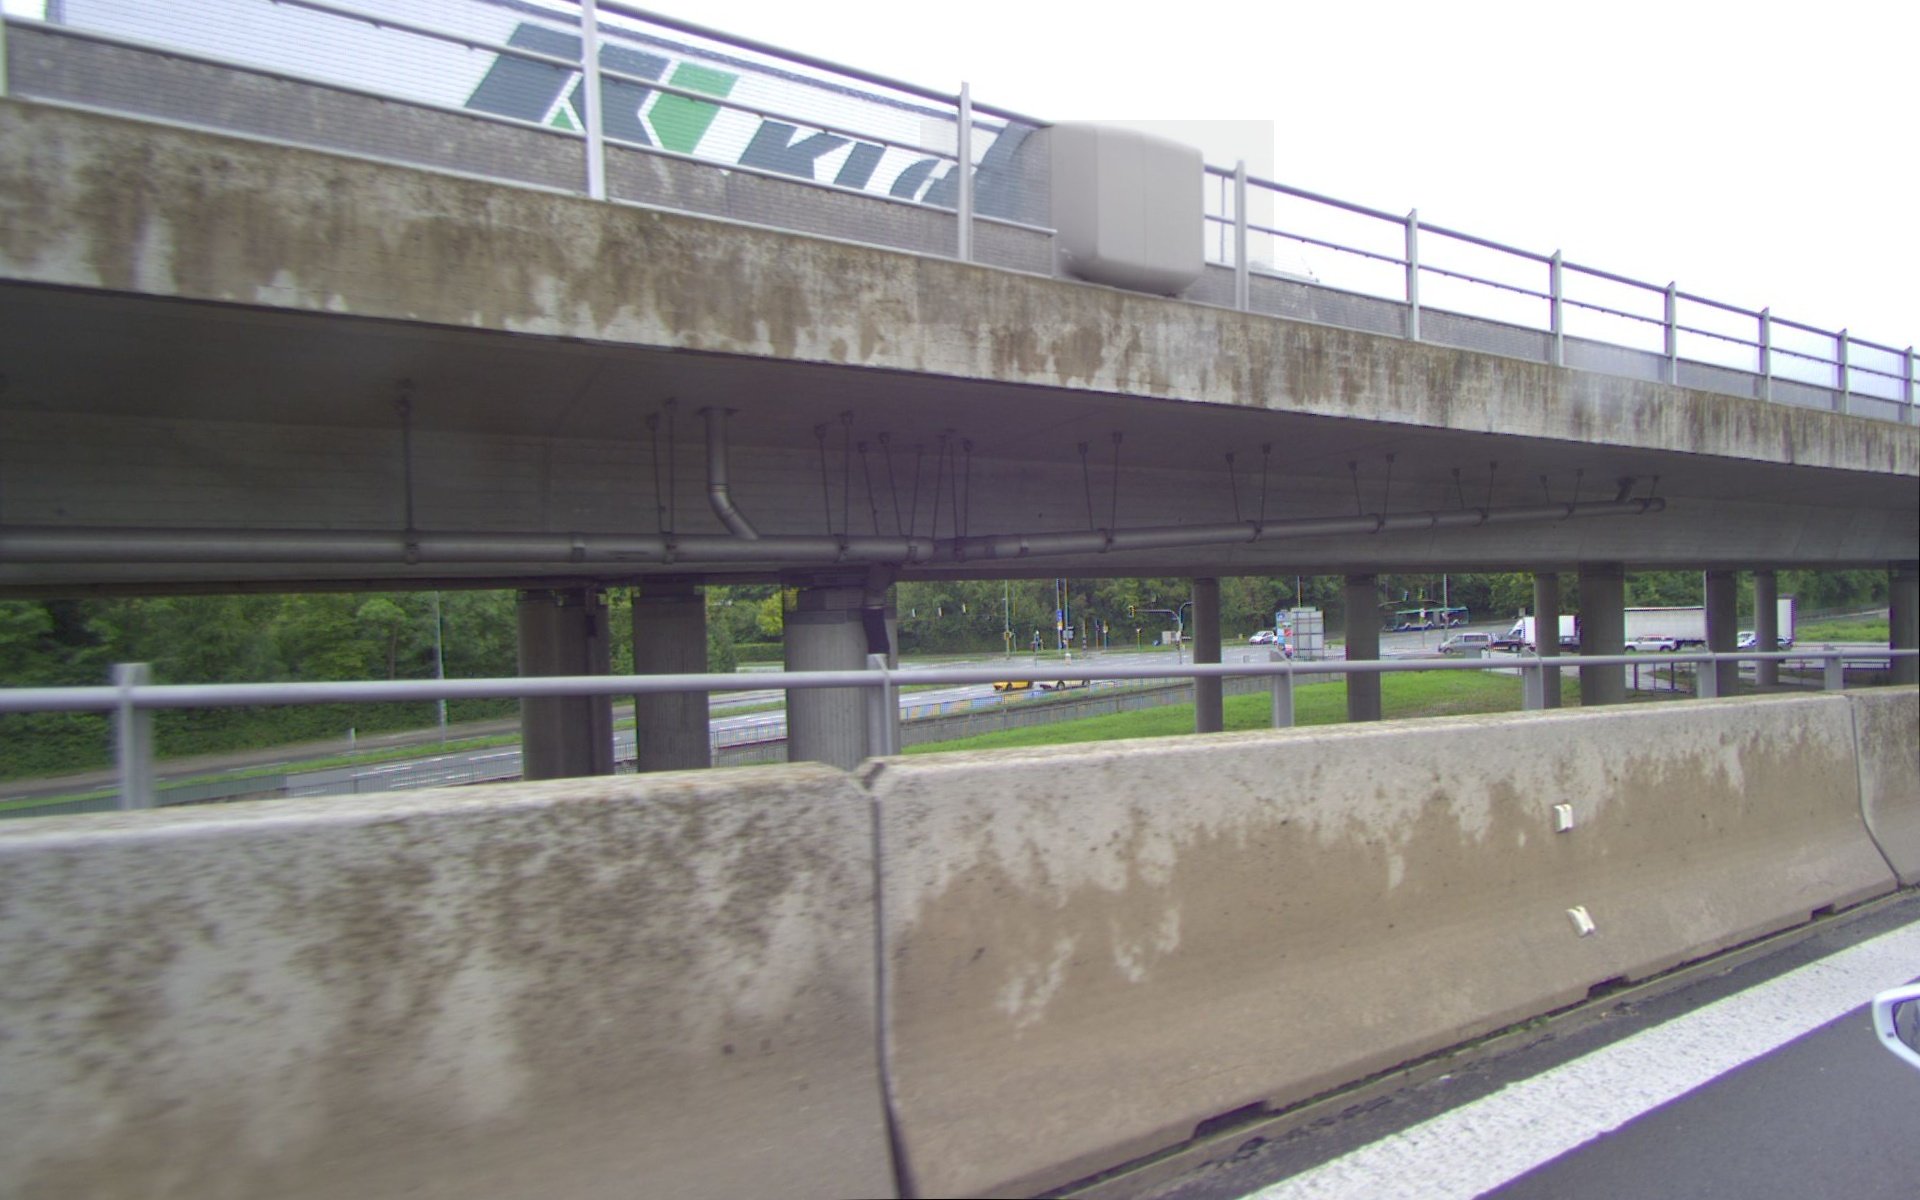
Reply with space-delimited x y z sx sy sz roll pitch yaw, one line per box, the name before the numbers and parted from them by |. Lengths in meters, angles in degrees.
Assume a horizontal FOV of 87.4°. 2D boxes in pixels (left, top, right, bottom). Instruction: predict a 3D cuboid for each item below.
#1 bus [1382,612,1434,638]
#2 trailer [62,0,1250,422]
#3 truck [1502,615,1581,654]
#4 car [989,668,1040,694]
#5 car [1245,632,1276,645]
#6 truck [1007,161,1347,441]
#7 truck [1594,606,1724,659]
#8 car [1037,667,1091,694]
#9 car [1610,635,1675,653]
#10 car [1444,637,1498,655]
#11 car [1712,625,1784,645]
bus | 66.900 3.715 149.856 9.811 3.750 2.210 1 0 -35
trailer | -2.106 -4.645 13.025 13.900 3.343 2.643 -2 2 -32
truck | 57.306 3.402 99.137 6.520 3.728 2.796 -1 -1 27
car | 4.504 6.655 82.753 3.963 1.640 1.829 -1 3 -37
car | 38.638 4.911 129.154 3.960 1.583 1.781 0 -2 -35
truck | 3.625 -4.574 16.547 5.135 3.290 2.575 -2 2 -31
truck | 63.742 2.925 91.887 9.423 4.652 2.796 -1 -1 27
car | 8.409 6.482 81.334 4.325 1.773 1.790 -1 3 -37
car | 61.063 3.925 89.943 4.504 1.604 1.974 -1 -1 24
car | 48.837 4.424 96.072 4.504 1.627 1.974 0 -1 24
car | 67.932 3.000 86.659 4.504 1.604 1.974 -1 -1 24
